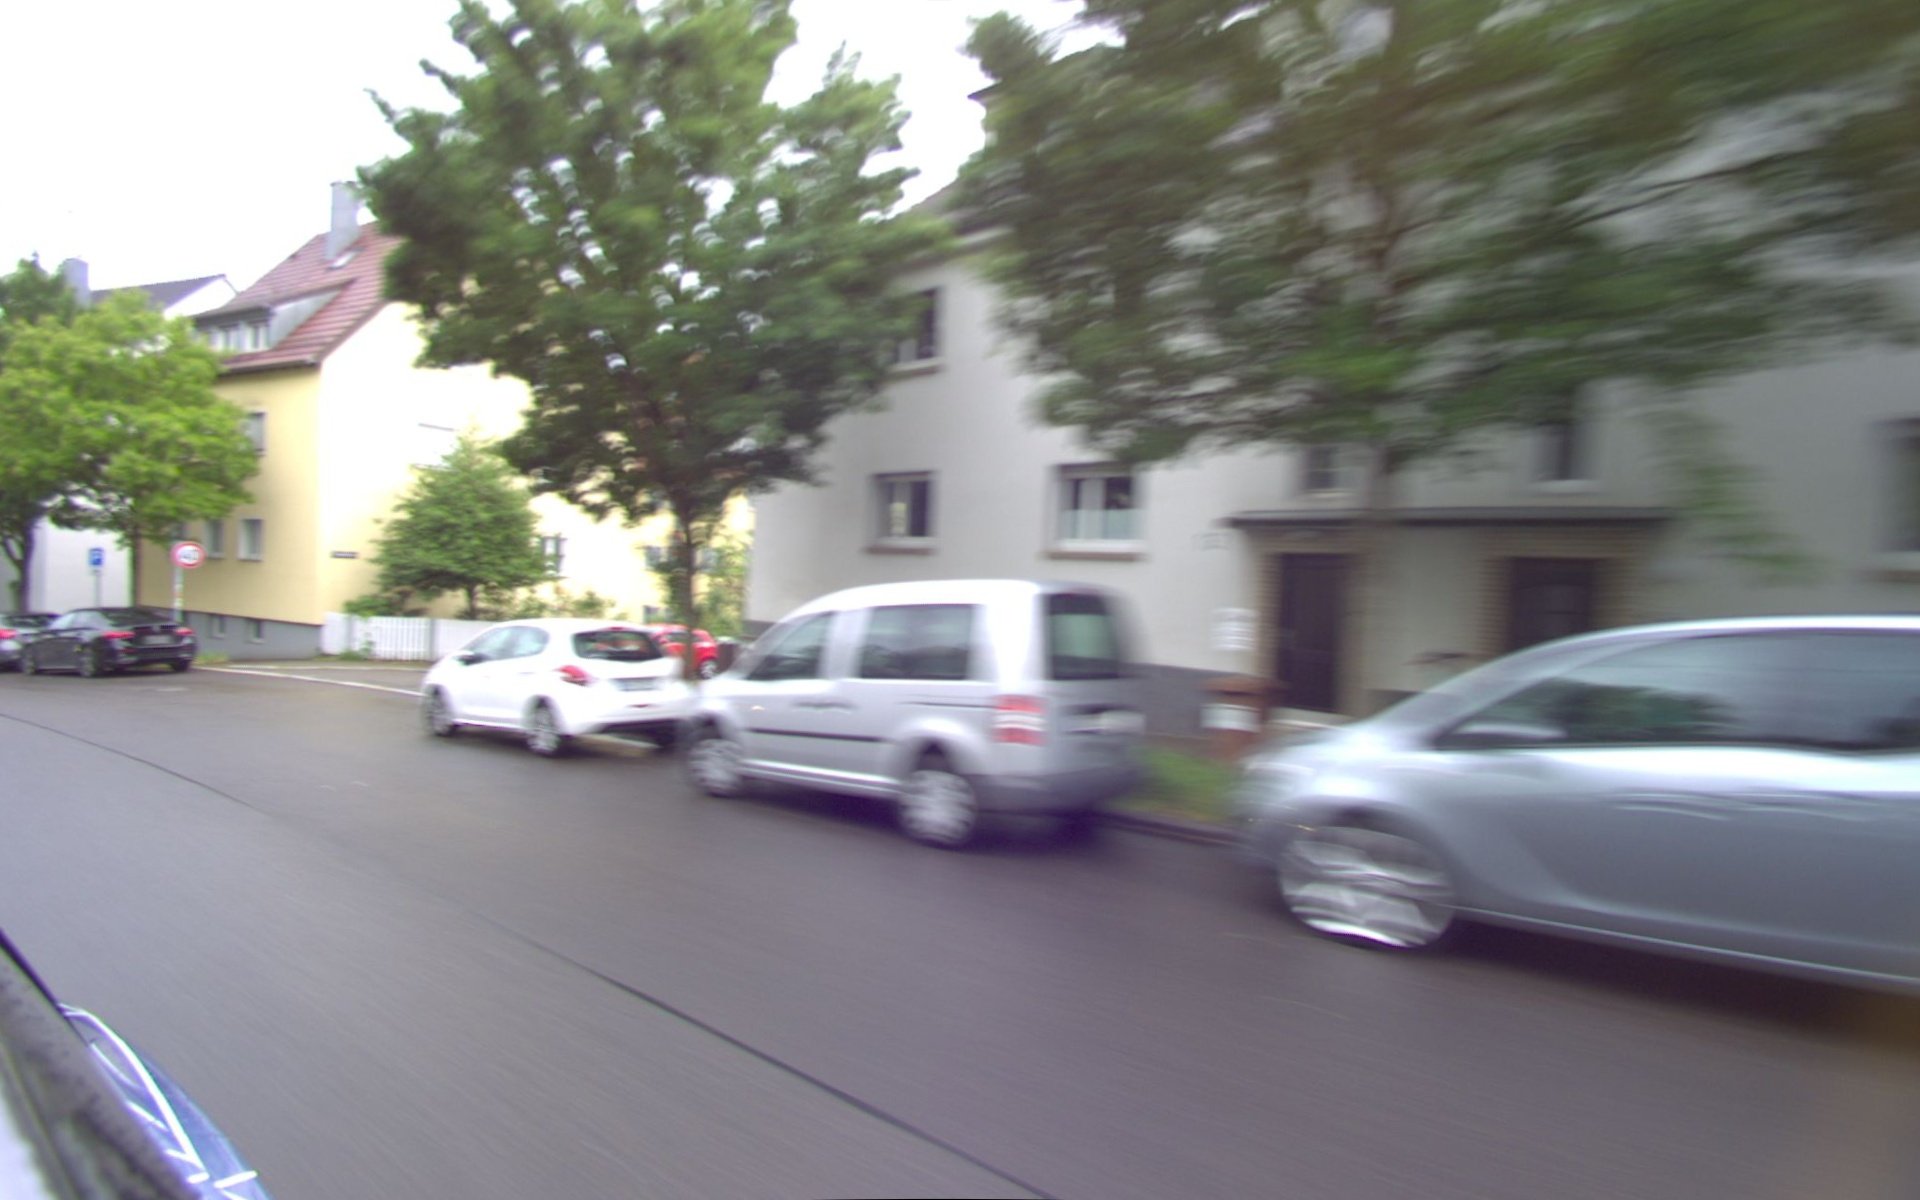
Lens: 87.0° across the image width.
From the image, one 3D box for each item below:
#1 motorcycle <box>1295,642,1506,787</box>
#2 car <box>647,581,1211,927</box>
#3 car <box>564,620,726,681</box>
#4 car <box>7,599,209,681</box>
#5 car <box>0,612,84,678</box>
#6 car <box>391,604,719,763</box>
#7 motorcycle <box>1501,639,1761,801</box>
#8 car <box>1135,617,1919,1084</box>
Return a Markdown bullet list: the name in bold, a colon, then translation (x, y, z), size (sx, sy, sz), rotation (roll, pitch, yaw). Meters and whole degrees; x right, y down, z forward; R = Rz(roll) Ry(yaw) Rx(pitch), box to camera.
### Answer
- **motorcycle**: translation (3.783, 0.942, 8.773), size (1.618, 1.129, 0.425), rotation (-1, -2, 39)
- **car**: translation (-0.485, 0.862, 8.165), size (4.548, 2.016, 1.893), rotation (1, 2, 43)
- **car**: translation (-8.644, 1.431, 28.079), size (1.992, 1.455, 3.960), rotation (1, -4, 29)
- **car**: translation (-18.111, 0.794, 21.477), size (4.497, 1.552, 1.764), rotation (-1, 1, 29)
- **car**: translation (-22.664, 1.026, 23.637), size (4.295, 1.407, 1.607), rotation (-1, 0, 23)
- **car**: translation (-5.012, 0.881, 12.248), size (4.342, 1.526, 1.766), rotation (1, -2, 39)
- **motorcycle**: translation (5.083, 0.863, 7.740), size (1.618, 1.107, 0.407), rotation (-1, -2, 39)
- **car**: translation (3.125, 0.895, 4.708), size (4.235, 1.497, 1.785), rotation (1, -2, 42)
